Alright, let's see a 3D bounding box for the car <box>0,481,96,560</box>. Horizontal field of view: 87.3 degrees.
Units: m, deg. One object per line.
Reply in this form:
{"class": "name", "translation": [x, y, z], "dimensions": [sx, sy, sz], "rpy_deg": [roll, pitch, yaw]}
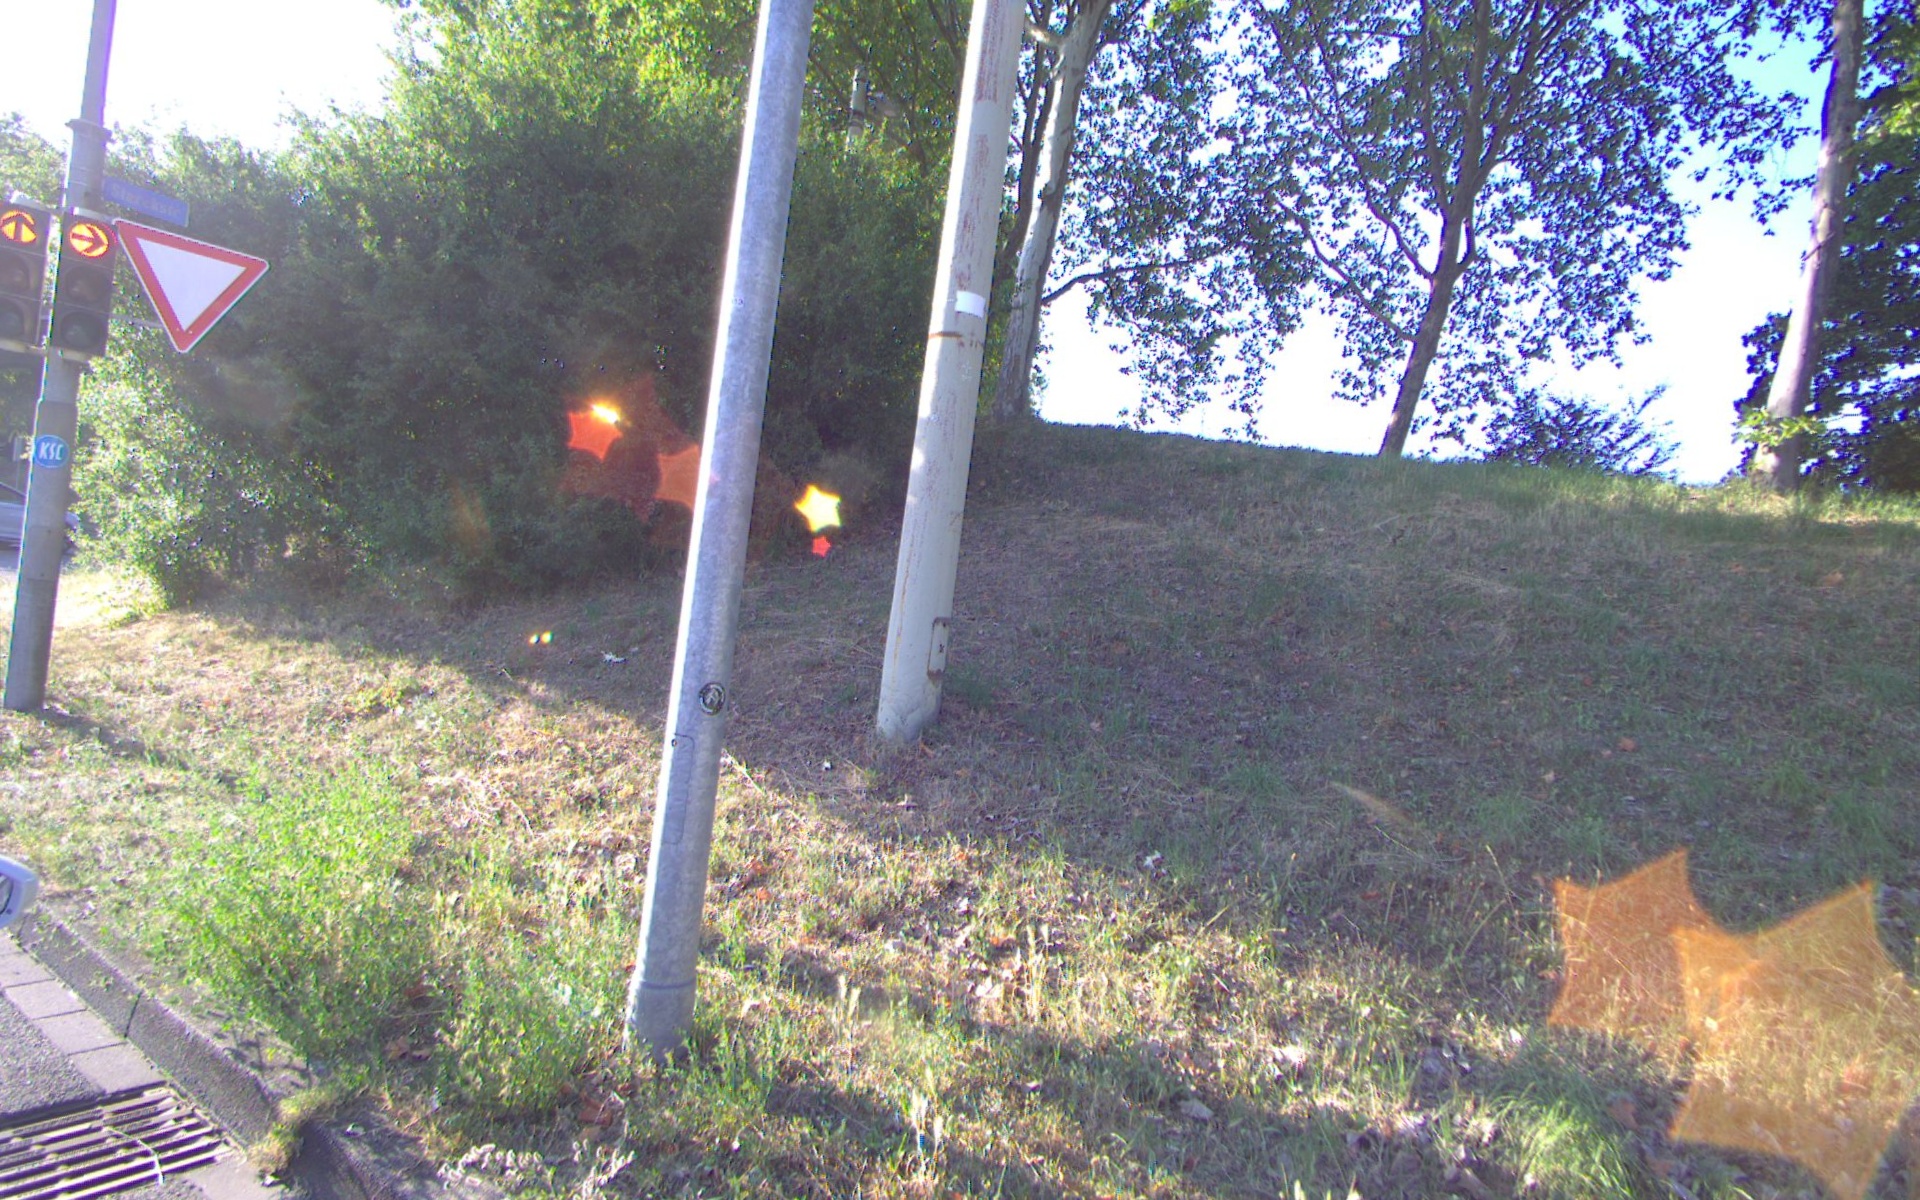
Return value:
{"class": "car", "translation": [-22.617, -2.010, 22.207], "dimensions": [1.707, 1.593, 5.373], "rpy_deg": [7, -1, 11]}
